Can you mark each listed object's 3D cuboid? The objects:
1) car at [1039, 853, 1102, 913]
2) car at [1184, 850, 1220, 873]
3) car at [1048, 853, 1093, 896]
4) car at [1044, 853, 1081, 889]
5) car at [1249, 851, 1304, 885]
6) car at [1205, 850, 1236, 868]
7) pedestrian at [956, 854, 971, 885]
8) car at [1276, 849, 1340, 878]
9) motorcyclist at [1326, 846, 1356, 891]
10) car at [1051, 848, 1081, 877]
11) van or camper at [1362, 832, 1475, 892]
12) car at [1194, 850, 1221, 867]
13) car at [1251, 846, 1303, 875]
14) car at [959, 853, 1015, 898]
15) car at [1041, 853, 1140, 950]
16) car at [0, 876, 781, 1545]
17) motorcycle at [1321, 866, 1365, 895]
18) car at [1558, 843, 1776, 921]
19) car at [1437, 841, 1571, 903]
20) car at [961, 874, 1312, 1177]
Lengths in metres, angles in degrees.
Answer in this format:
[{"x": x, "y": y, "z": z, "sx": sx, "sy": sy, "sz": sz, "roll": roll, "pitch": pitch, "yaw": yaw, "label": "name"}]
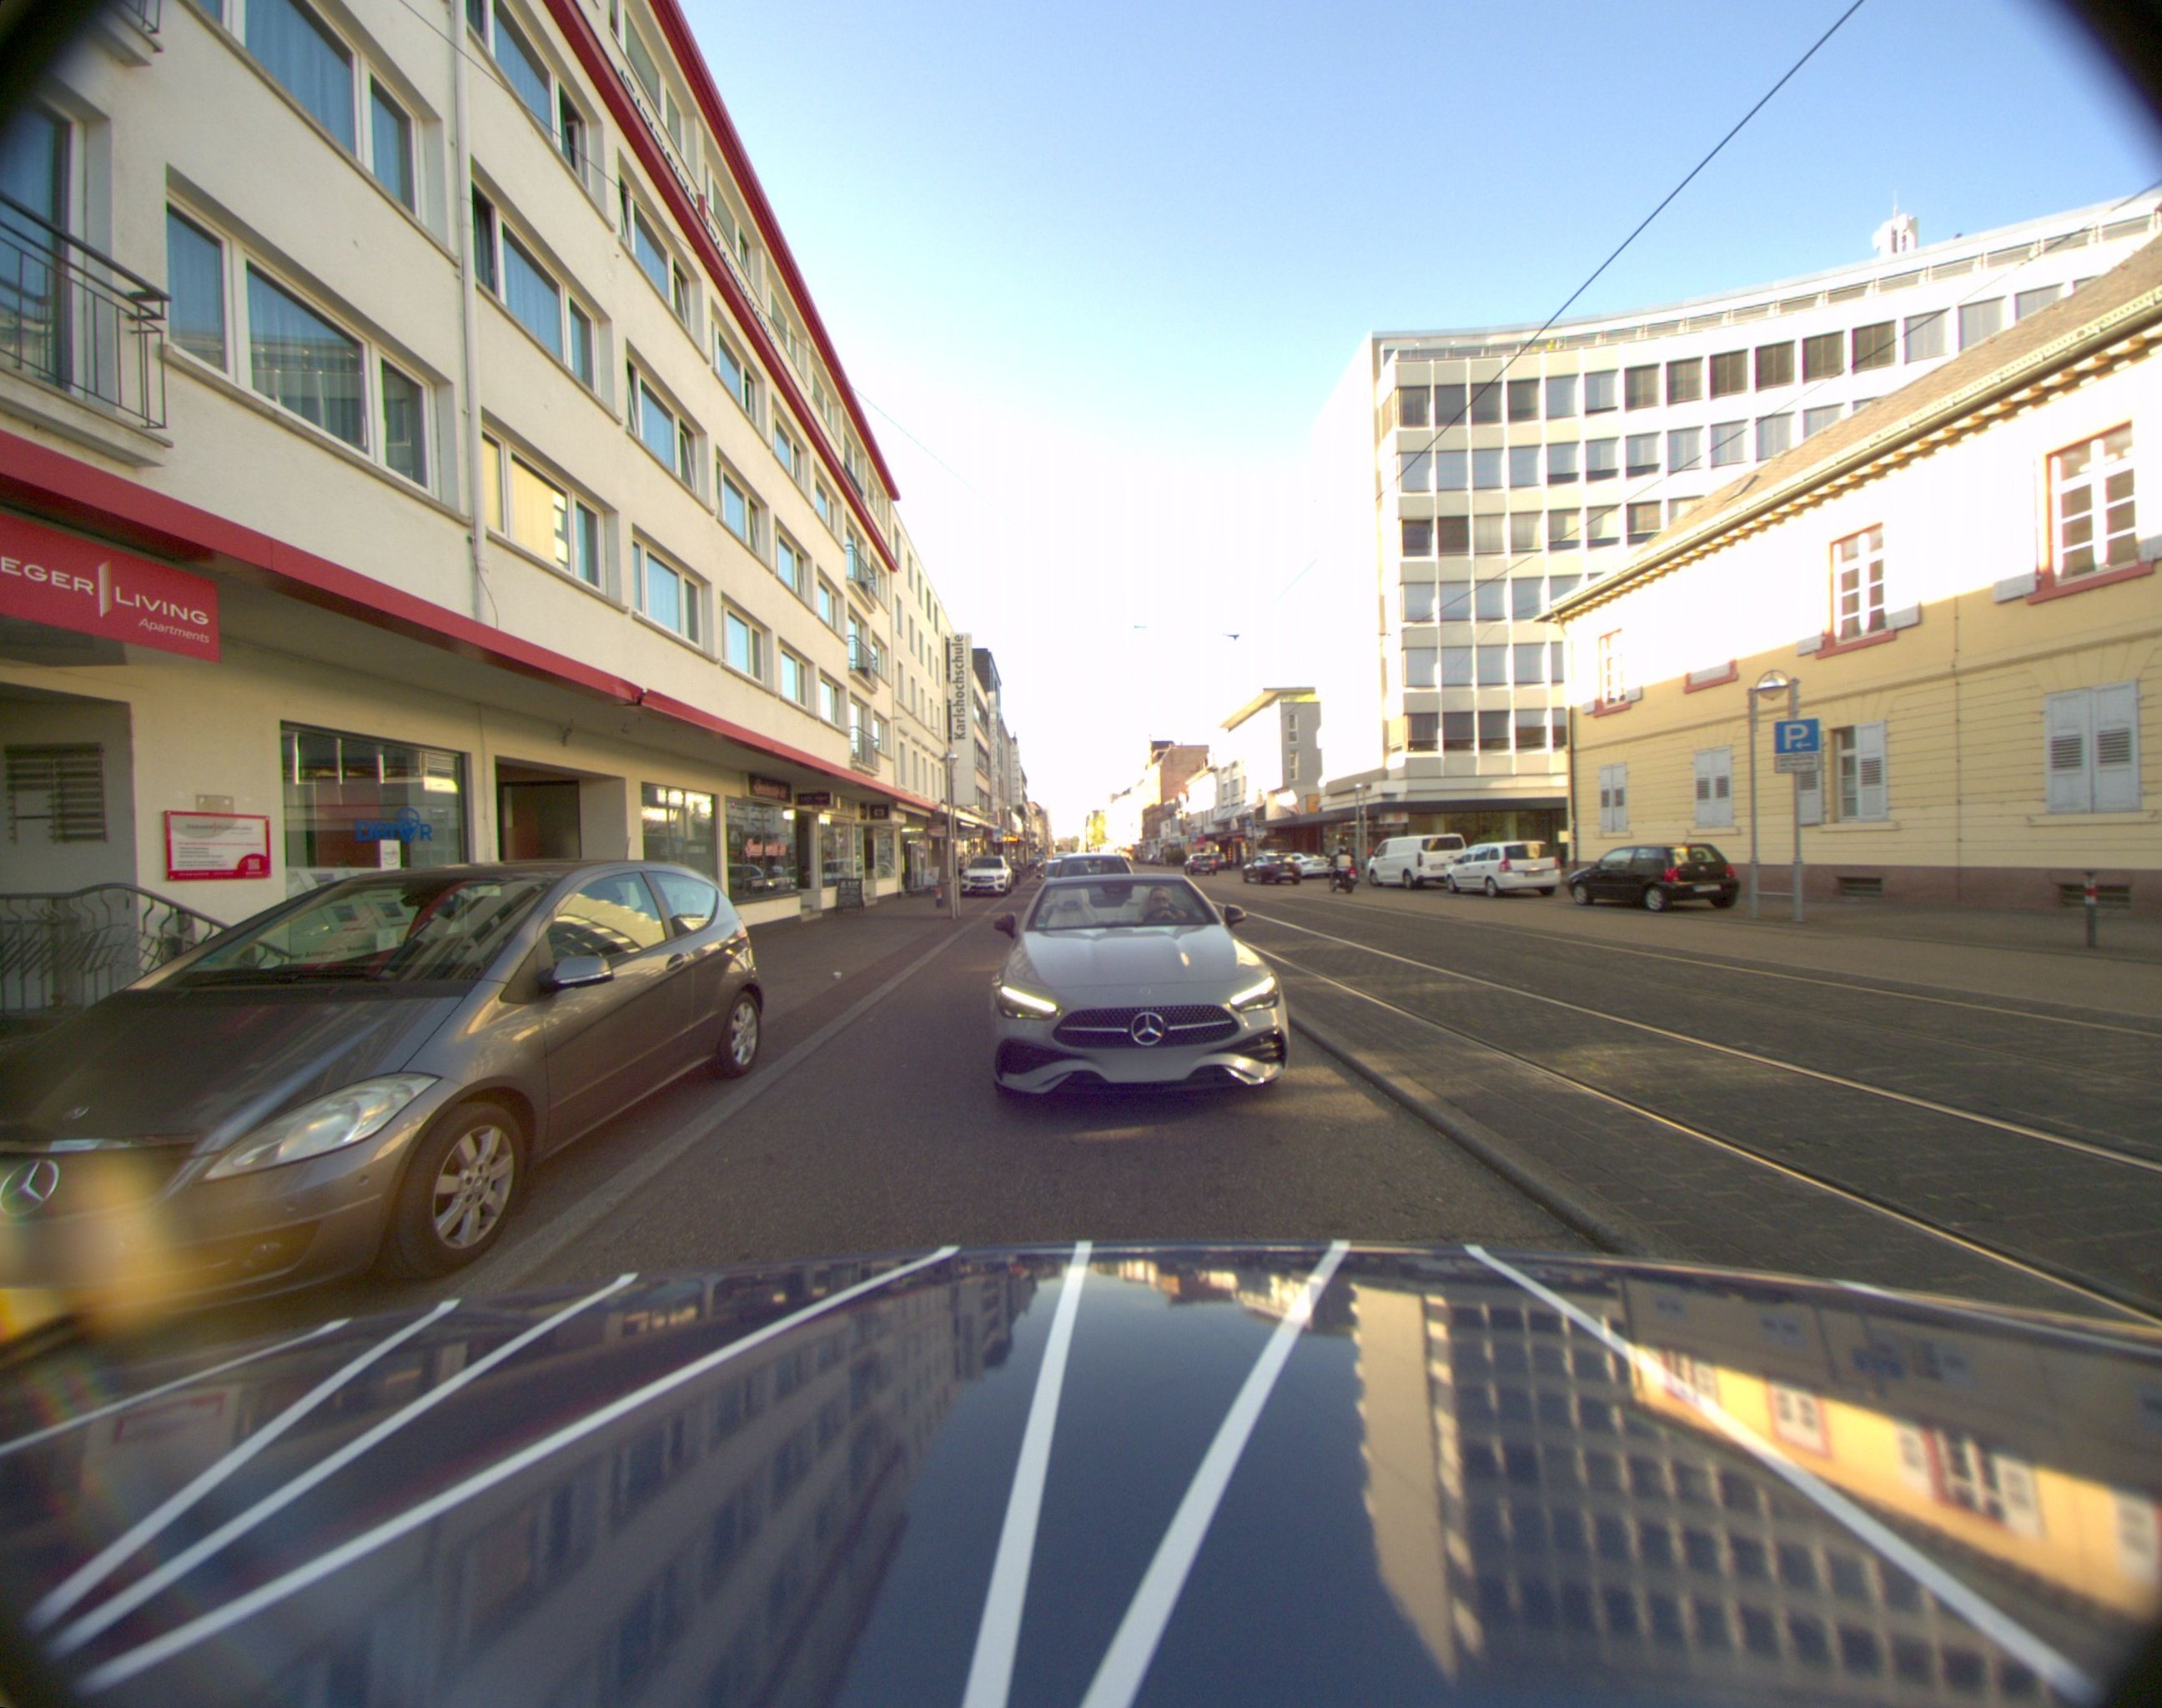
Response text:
[{"x": -0.321, "y": 0.825, "z": 23.748, "sx": 1.783, "sy": 1.654, "sz": 3.960, "roll": 0, "pitch": 1, "yaw": 0, "label": "car"}, {"x": 8.383, "y": 0.498, "z": 52.990, "sx": 1.781, "sy": 1.500, "sz": 3.859, "roll": -1, "pitch": 0, "yaw": -1, "label": "car"}, {"x": -0.428, "y": 0.819, "z": 32.093, "sx": 1.737, "sy": 1.654, "sz": 3.960, "roll": 0, "pitch": 1, "yaw": 0, "label": "car"}, {"x": -0.866, "y": 0.779, "z": 37.392, "sx": 1.737, "sy": 1.654, "sz": 3.781, "roll": 0, "pitch": 1, "yaw": 0, "label": "car"}, {"x": 9.321, "y": 0.629, "z": 36.625, "sx": 1.780, "sy": 1.500, "sz": 4.671, "roll": -1, "pitch": 0, "yaw": 4, "label": "car"}, {"x": 11.982, "y": 0.376, "z": 65.422, "sx": 1.786, "sy": 1.408, "sz": 3.596, "roll": -2, "pitch": 1, "yaw": -2, "label": "car"}, {"x": -6.870, "y": 0.892, "z": 44.585, "sx": 0.706, "sy": 1.807, "sz": 0.807, "roll": -2, "pitch": 1, "yaw": -3, "label": "pedestrian"}, {"x": 12.506, "y": 0.493, "z": 42.206, "sx": 1.931, "sy": 1.444, "sz": 4.291, "roll": -4, "pitch": 1, "yaw": -5, "label": "car"}, {"x": 9.326, "y": 0.502, "z": 27.293, "sx": 0.654, "sy": 1.549, "sz": 0.884, "roll": -2, "pitch": 1, "yaw": -6, "label": "motorcyclist"}, {"x": -0.860, "y": 0.506, "z": 46.289, "sx": 1.737, "sy": 1.654, "sz": 3.960, "roll": 0, "pitch": 1, "yaw": 0, "label": "car"}, {"x": 12.671, "y": 0.250, "z": 28.905, "sx": 1.960, "sy": 1.962, "sz": 4.796, "roll": -3, "pitch": 1, "yaw": -2, "label": "van or camper"}, {"x": 11.900, "y": 0.376, "z": 71.596, "sx": 1.786, "sy": 1.511, "sz": 3.832, "roll": -2, "pitch": 1, "yaw": -1, "label": "car"}, {"x": 12.318, "y": 0.371, "z": 47.999, "sx": 1.931, "sy": 1.632, "sz": 4.280, "roll": -4, "pitch": 1, "yaw": -3, "label": "car"}, {"x": -3.806, "y": 0.836, "z": 31.391, "sx": 1.783, "sy": 1.654, "sz": 4.162, "roll": 0, "pitch": 1, "yaw": 0, "label": "car"}, {"x": 0.153, "y": 0.845, "z": 15.400, "sx": 1.737, "sy": 1.654, "sz": 3.960, "roll": 0, "pitch": 1, "yaw": 0, "label": "car"}, {"x": -3.221, "y": 0.980, "z": 3.914, "sx": 1.781, "sy": 1.560, "sz": 3.960, "roll": 0, "pitch": 1, "yaw": 0, "label": "car"}, {"x": 9.358, "y": 0.922, "z": 27.227, "sx": 0.601, "sy": 0.921, "sz": 2.154, "roll": -2, "pitch": 1, "yaw": -6, "label": "motorcycle"}, {"x": 12.893, "y": 0.533, "z": 17.089, "sx": 1.781, "sy": 1.431, "sz": 3.960, "roll": -3, "pitch": 1, "yaw": 0, "label": "car"}, {"x": 12.746, "y": 0.477, "z": 23.212, "sx": 1.781, "sy": 1.611, "sz": 4.175, "roll": -3, "pitch": 1, "yaw": 2, "label": "car"}, {"x": 0.290, "y": 0.980, "z": 6.455, "sx": 1.869, "sy": 1.431, "sz": 4.773, "roll": 0, "pitch": 1, "yaw": 0, "label": "car"}]
